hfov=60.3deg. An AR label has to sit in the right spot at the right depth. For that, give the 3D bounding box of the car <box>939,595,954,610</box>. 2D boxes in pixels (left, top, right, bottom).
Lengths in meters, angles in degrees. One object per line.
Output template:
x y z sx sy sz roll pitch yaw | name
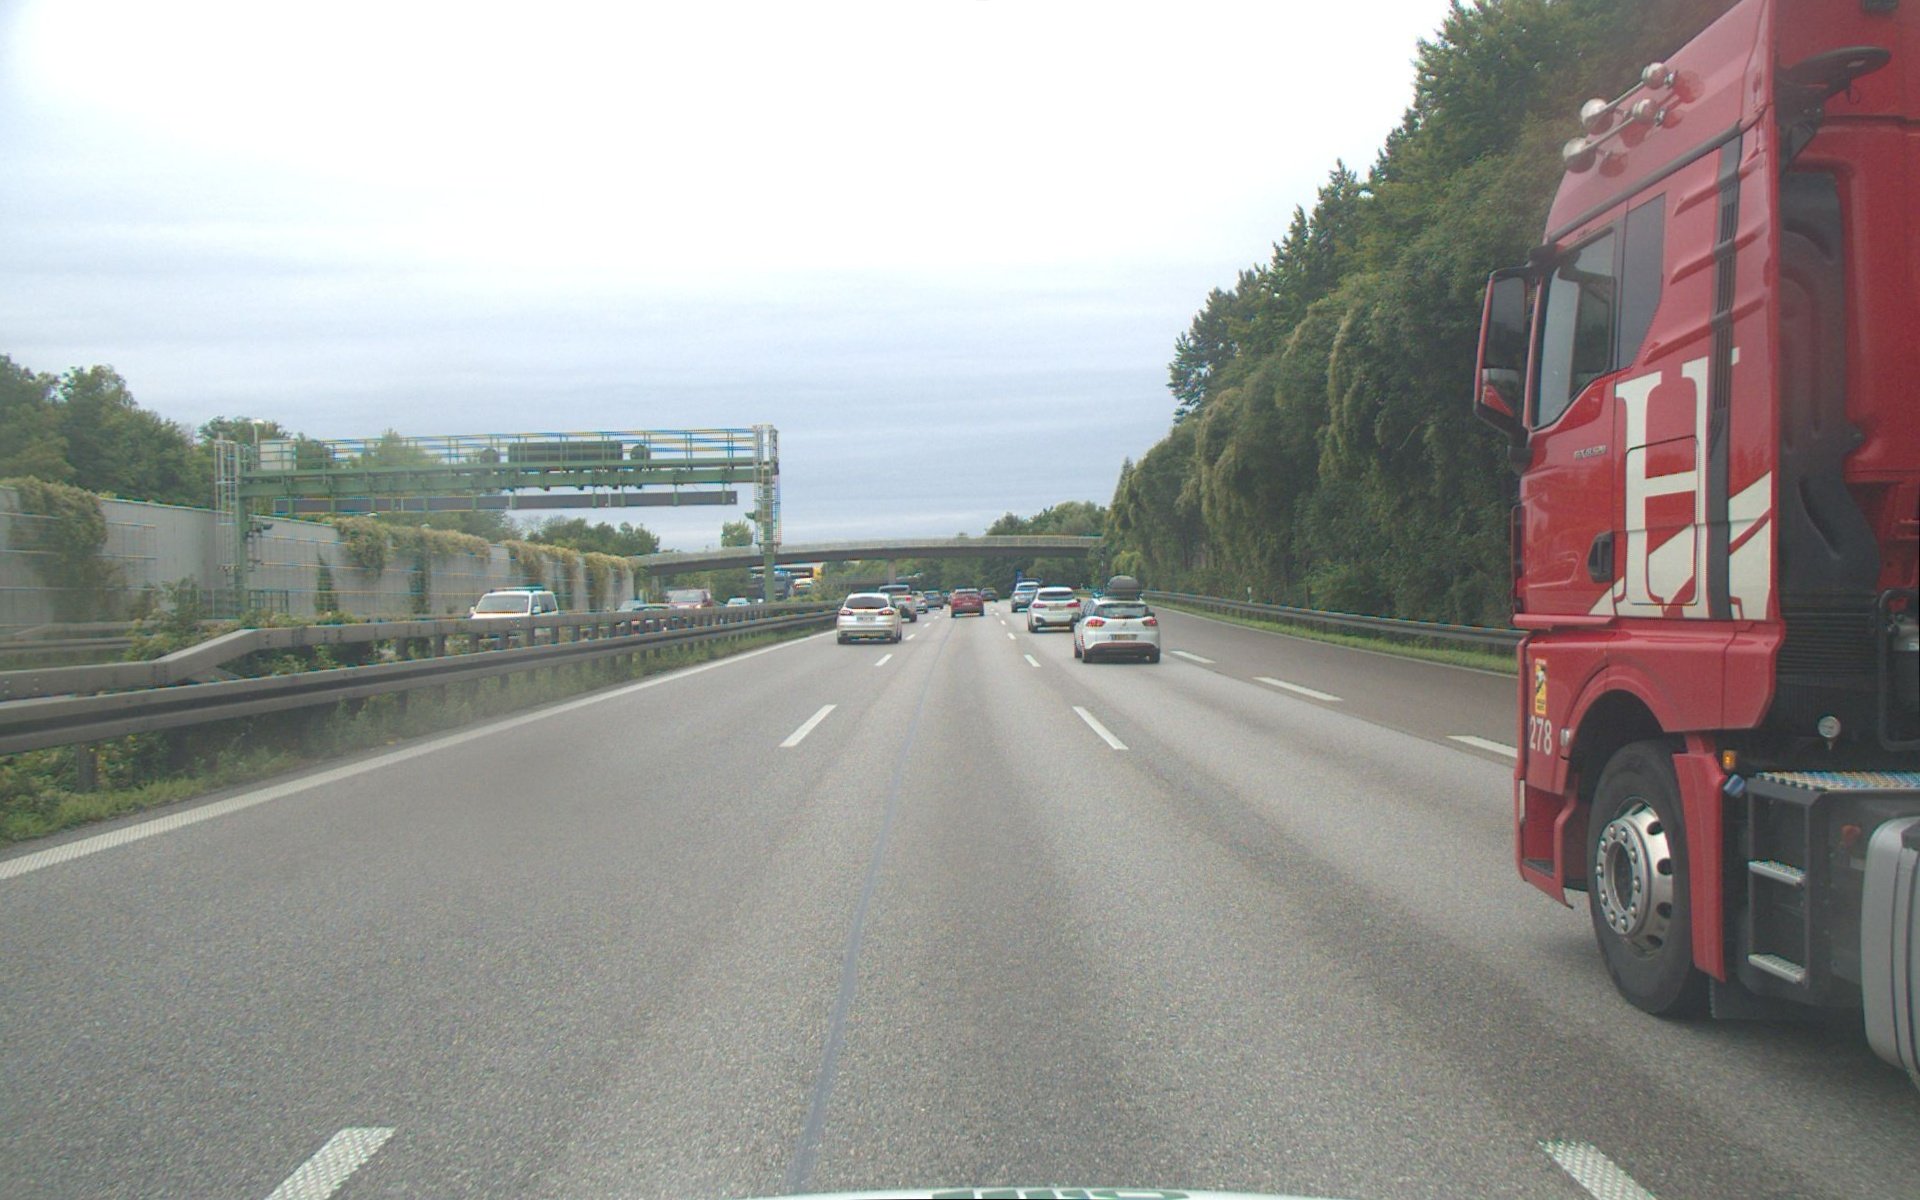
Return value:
-1.627 0.280 197.549 1.654 1.668 3.870 -1 -1 -1 | car

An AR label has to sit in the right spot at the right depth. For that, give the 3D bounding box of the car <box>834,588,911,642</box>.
-2.583 0.447 50.048 1.852 1.530 5.031 0 0 2 | car

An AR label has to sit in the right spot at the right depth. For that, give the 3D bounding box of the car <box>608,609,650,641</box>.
-21.727 1.661 108.678 1.953 2.049 3.999 0 -1 -1 | car

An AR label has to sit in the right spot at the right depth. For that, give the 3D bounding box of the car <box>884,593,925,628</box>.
-2.669 0.494 79.698 1.654 1.532 3.872 4 0 1 | car

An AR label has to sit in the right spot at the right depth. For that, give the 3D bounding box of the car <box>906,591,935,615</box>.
-2.624 0.177 109.974 1.654 1.533 3.872 -2 0 1 | car

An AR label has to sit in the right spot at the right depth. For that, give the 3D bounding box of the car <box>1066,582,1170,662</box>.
3.506 0.494 37.570 1.779 1.654 5.029 1 -1 -1 | car

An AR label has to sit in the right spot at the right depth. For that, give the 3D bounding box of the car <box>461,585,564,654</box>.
-13.956 0.613 51.862 1.953 2.049 4.908 0 -1 -1 | car

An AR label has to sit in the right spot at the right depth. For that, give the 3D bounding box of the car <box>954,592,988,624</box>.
0.576 0.413 88.613 1.655 1.532 3.871 4 0 0 | car

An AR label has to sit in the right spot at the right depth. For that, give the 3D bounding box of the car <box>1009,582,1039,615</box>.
3.640 -0.074 94.137 1.654 1.811 3.871 0 -1 1 | car

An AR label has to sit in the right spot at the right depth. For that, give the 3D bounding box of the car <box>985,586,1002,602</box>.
3.334 -0.625 164.584 1.654 1.566 3.872 0 0 1 | car

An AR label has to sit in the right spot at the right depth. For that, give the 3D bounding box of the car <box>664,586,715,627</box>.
-13.830 0.332 84.750 1.953 2.049 3.999 0 -1 -1 | car

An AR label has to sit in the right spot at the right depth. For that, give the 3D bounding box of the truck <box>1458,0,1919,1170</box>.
3.813 -0.501 4.865 2.640 3.981 6.555 0 0 -1 | truck

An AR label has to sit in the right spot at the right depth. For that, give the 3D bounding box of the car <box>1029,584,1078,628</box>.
3.308 0.244 59.086 1.654 1.533 3.872 0 -1 1 | car

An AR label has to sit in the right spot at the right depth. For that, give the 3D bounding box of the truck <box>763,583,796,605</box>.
-17.350 -0.584 159.200 2.533 1.840 5.970 4 0 -1 | truck

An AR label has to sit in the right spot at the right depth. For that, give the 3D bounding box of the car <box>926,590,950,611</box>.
-1.692 0.067 130.902 1.654 1.532 3.872 4 0 1 | car
